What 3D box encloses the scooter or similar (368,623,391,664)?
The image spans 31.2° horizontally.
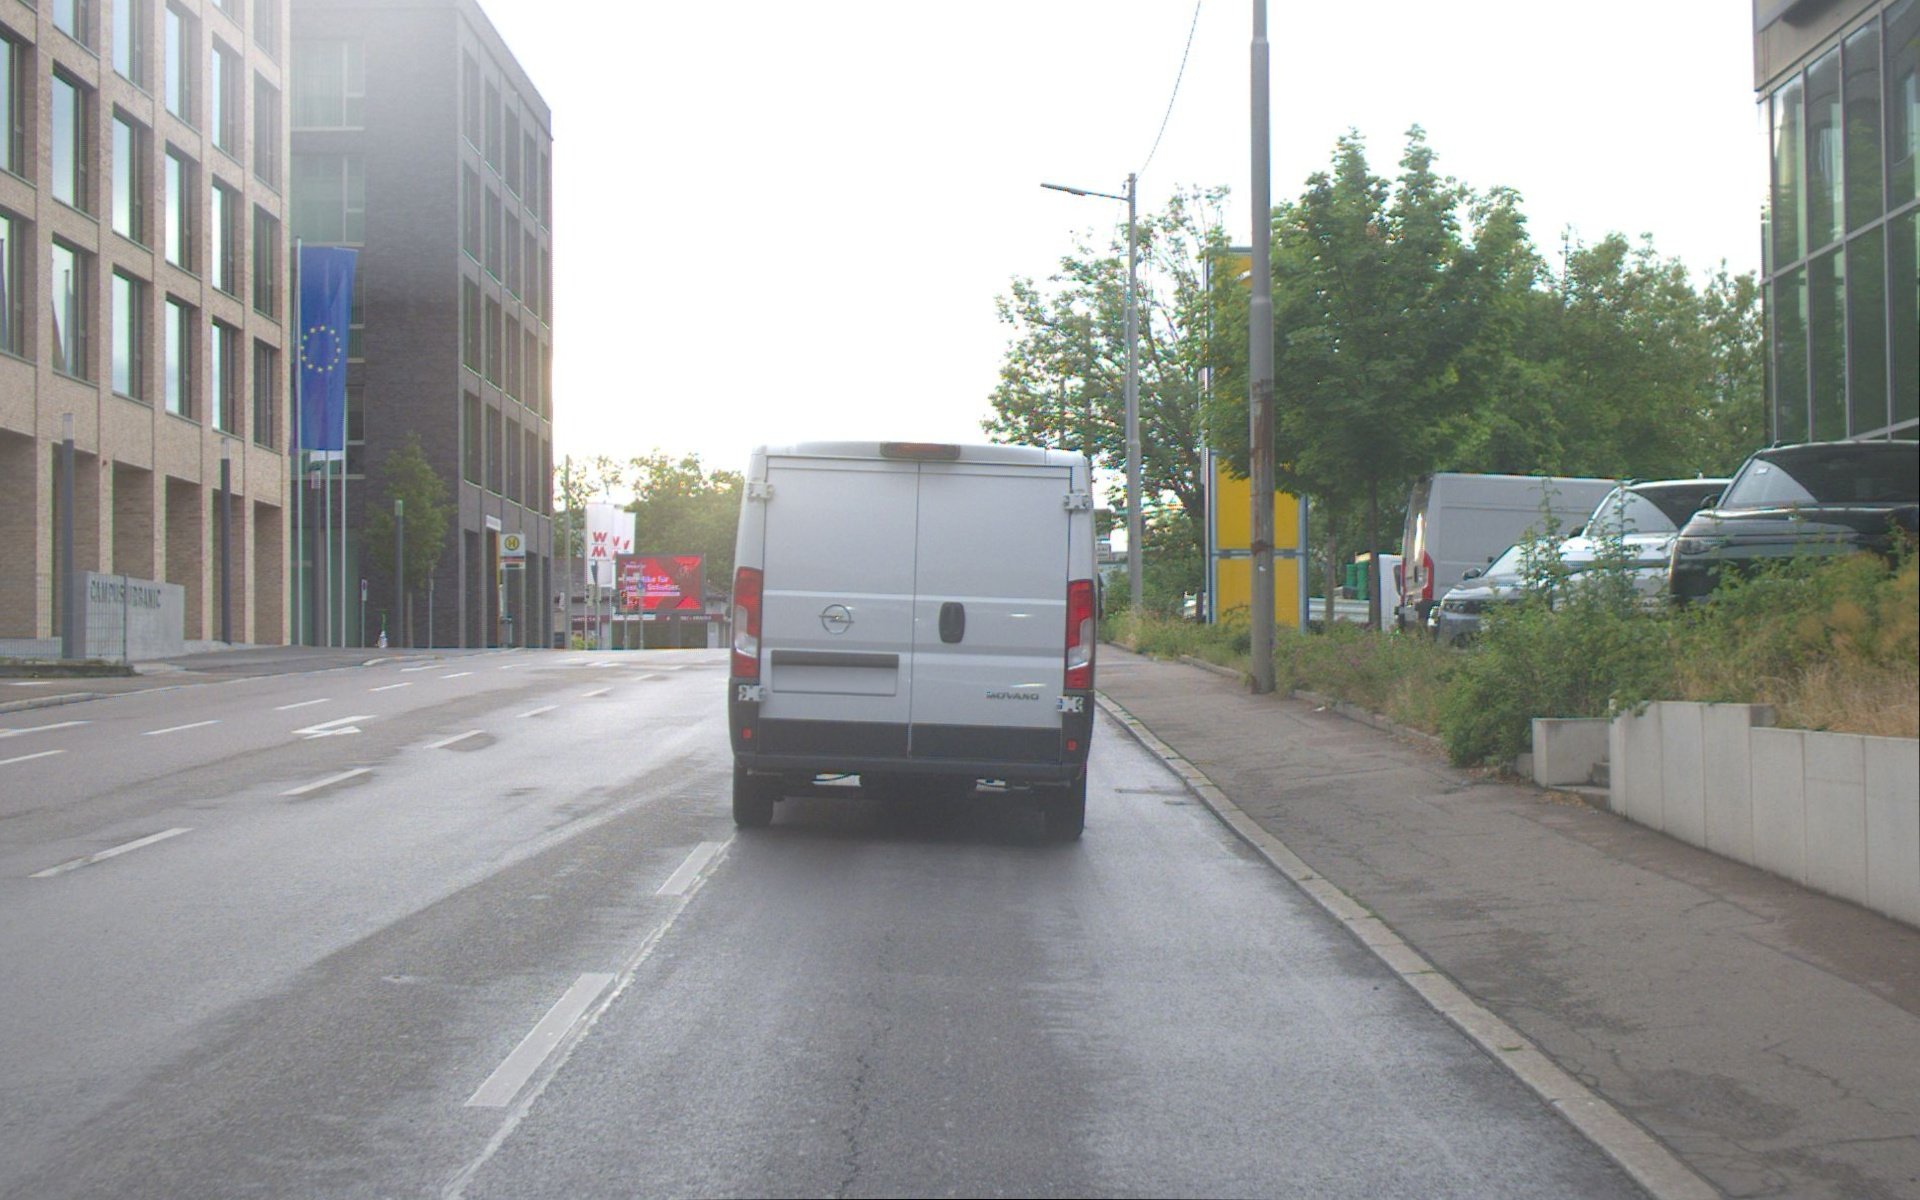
[{"bbox_3d":[-15.667,1.179,92.782,0.351,1.068,1.428,1,-2,1],"label":"scooter or similar"}]

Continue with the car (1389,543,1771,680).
[{"bbox_3d":[7.116,0.129,39.232,4.505,1.450,1.915,0,-2,-43],"label":"car"}]

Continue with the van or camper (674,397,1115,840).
[{"bbox_3d":[-0.319,0.099,21.101,2.340,2.349,5.199,1,0,1],"label":"van or camper"}]

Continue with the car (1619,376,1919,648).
[{"bbox_3d":[6.325,-0.551,24.632,1.996,1.705,4.422,-2,-1,26],"label":"car"}]

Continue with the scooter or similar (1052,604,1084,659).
[{"bbox_3d":[3.154,0.921,100.657,0.434,1.582,1.273,1,0,-22],"label":"scooter or similar"}]

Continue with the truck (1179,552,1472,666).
[{"bbox_3d":[6.788,0.165,64.295,5.147,2.007,2.345,1,0,-2],"label":"truck"}]

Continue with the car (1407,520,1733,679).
[{"bbox_3d":[6.241,0.014,34.744,1.912,1.450,4.564,-2,-1,28],"label":"car"}]

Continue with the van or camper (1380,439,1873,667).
[{"bbox_3d":[8.335,-0.579,43.423,5.736,2.715,2.352,1,0,0],"label":"van or camper"}]

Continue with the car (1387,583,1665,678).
[{"bbox_3d":[8.699,0.459,53.058,3.987,1.423,1.895,0,0,1],"label":"car"}]

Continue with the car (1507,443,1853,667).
[{"bbox_3d":[6.248,-0.328,29.422,1.996,1.705,4.572,-2,-1,23],"label":"car"}]
